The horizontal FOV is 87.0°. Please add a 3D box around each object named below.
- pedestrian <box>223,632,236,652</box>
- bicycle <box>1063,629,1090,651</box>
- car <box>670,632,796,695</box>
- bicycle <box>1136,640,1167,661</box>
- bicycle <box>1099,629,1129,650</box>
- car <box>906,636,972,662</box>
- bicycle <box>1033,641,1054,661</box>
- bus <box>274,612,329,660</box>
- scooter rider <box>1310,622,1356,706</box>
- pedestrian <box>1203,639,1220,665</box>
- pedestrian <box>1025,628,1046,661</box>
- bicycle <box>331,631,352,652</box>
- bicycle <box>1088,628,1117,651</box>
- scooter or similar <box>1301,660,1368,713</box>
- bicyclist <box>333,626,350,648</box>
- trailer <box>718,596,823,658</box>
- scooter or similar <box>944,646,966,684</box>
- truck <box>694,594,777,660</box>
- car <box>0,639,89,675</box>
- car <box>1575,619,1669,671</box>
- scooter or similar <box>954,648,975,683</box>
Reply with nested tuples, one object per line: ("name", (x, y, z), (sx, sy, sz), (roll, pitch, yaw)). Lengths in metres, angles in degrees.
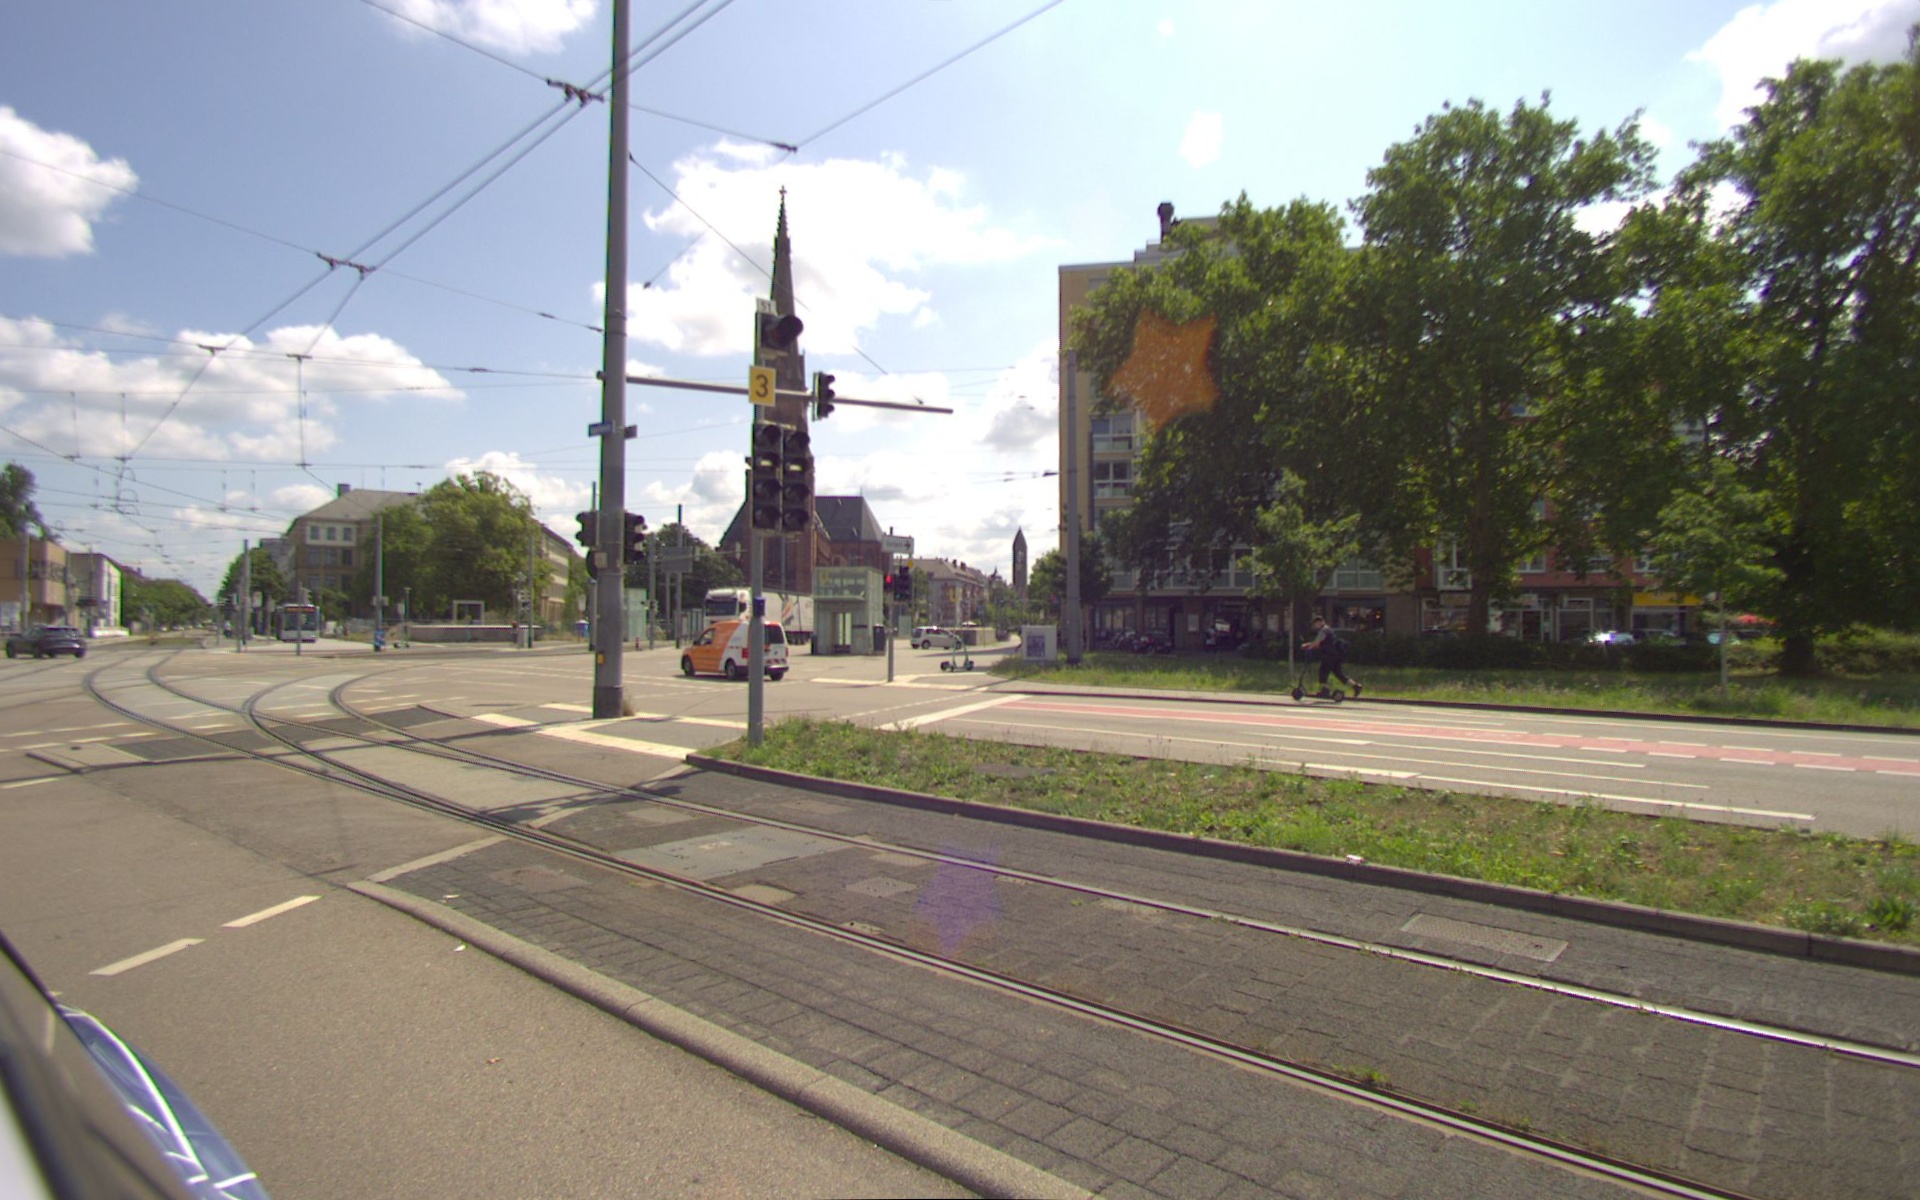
("pedestrian", (-67.084, 3.887, 92.945), (0.897, 1.837, 1.023), (3, -3, -39))
("bicycle", (6.848, 2.360, 59.493), (1.585, 1.274, 0.491), (-1, -2, 12))
("car", (-7.045, 1.889, 31.204), (4.243, 1.779, 1.745), (-1, -2, 44))
("bicycle", (9.884, 2.618, 52.234), (1.585, 1.074, 0.491), (-1, -2, 12))
("bicycle", (8.469, 2.184, 55.733), (1.585, 1.176, 0.491), (-1, -2, 12))
("car", (-1.385, 3.248, 67.420), (4.101, 1.655, 1.634), (1, -2, -30))
("bicycle", (4.956, 3.028, 59.978), (1.258, 1.154, 0.458), (-1, -2, 8))
("bus", (-49.921, 2.722, 76.585), (2.904, 3.474, 7.964), (1, -3, -37))
("scooter rider", (7.849, 1.332, 21.288), (0.649, 1.720, 0.769), (-2, -2, 42))
("pedestrian", (13.133, 2.708, 52.848), (0.751, 1.336, 0.561), (-1, -2, 7))
("pedestrian", (3.694, 2.192, 49.657), (0.873, 1.572, 0.719), (-1, -2, 19))
("bicycle", (-59.558, 3.992, 97.452), (1.228, 2.029, 3.491), (2, -3, -39))
("bicycle", (7.980, 2.206, 56.798), (1.585, 1.274, 0.491), (-1, -2, 12))
("scooter or similar", (7.862, 1.806, 21.262), (1.092, 1.040, 0.795), (-2, -2, 42))
("bicyclist", (-59.608, 3.574, 97.511), (1.108, 2.029, 1.322), (3, -3, -39))
("trailer", (-13.554, 2.029, 74.053), (2.917, 4.107, 13.372), (-1, -2, 11))
("scooter or similar", (-0.174, 2.119, 32.889), (0.549, 1.209, 0.456), (-2, -3, 41))
("truck", (-14.806, 1.806, 67.335), (2.932, 4.150, 6.854), (0, -2, 11))
("car", (-42.496, 2.624, 46.887), (4.086, 1.572, 1.799), (-1, -3, 27))
("car", (27.216, 1.854, 41.773), (1.981, 2.029, 3.982), (-1, -2, 14))
("scooter or similar", (0.144, 2.170, 33.450), (0.556, 1.133, 0.411), (-2, -3, 41))
